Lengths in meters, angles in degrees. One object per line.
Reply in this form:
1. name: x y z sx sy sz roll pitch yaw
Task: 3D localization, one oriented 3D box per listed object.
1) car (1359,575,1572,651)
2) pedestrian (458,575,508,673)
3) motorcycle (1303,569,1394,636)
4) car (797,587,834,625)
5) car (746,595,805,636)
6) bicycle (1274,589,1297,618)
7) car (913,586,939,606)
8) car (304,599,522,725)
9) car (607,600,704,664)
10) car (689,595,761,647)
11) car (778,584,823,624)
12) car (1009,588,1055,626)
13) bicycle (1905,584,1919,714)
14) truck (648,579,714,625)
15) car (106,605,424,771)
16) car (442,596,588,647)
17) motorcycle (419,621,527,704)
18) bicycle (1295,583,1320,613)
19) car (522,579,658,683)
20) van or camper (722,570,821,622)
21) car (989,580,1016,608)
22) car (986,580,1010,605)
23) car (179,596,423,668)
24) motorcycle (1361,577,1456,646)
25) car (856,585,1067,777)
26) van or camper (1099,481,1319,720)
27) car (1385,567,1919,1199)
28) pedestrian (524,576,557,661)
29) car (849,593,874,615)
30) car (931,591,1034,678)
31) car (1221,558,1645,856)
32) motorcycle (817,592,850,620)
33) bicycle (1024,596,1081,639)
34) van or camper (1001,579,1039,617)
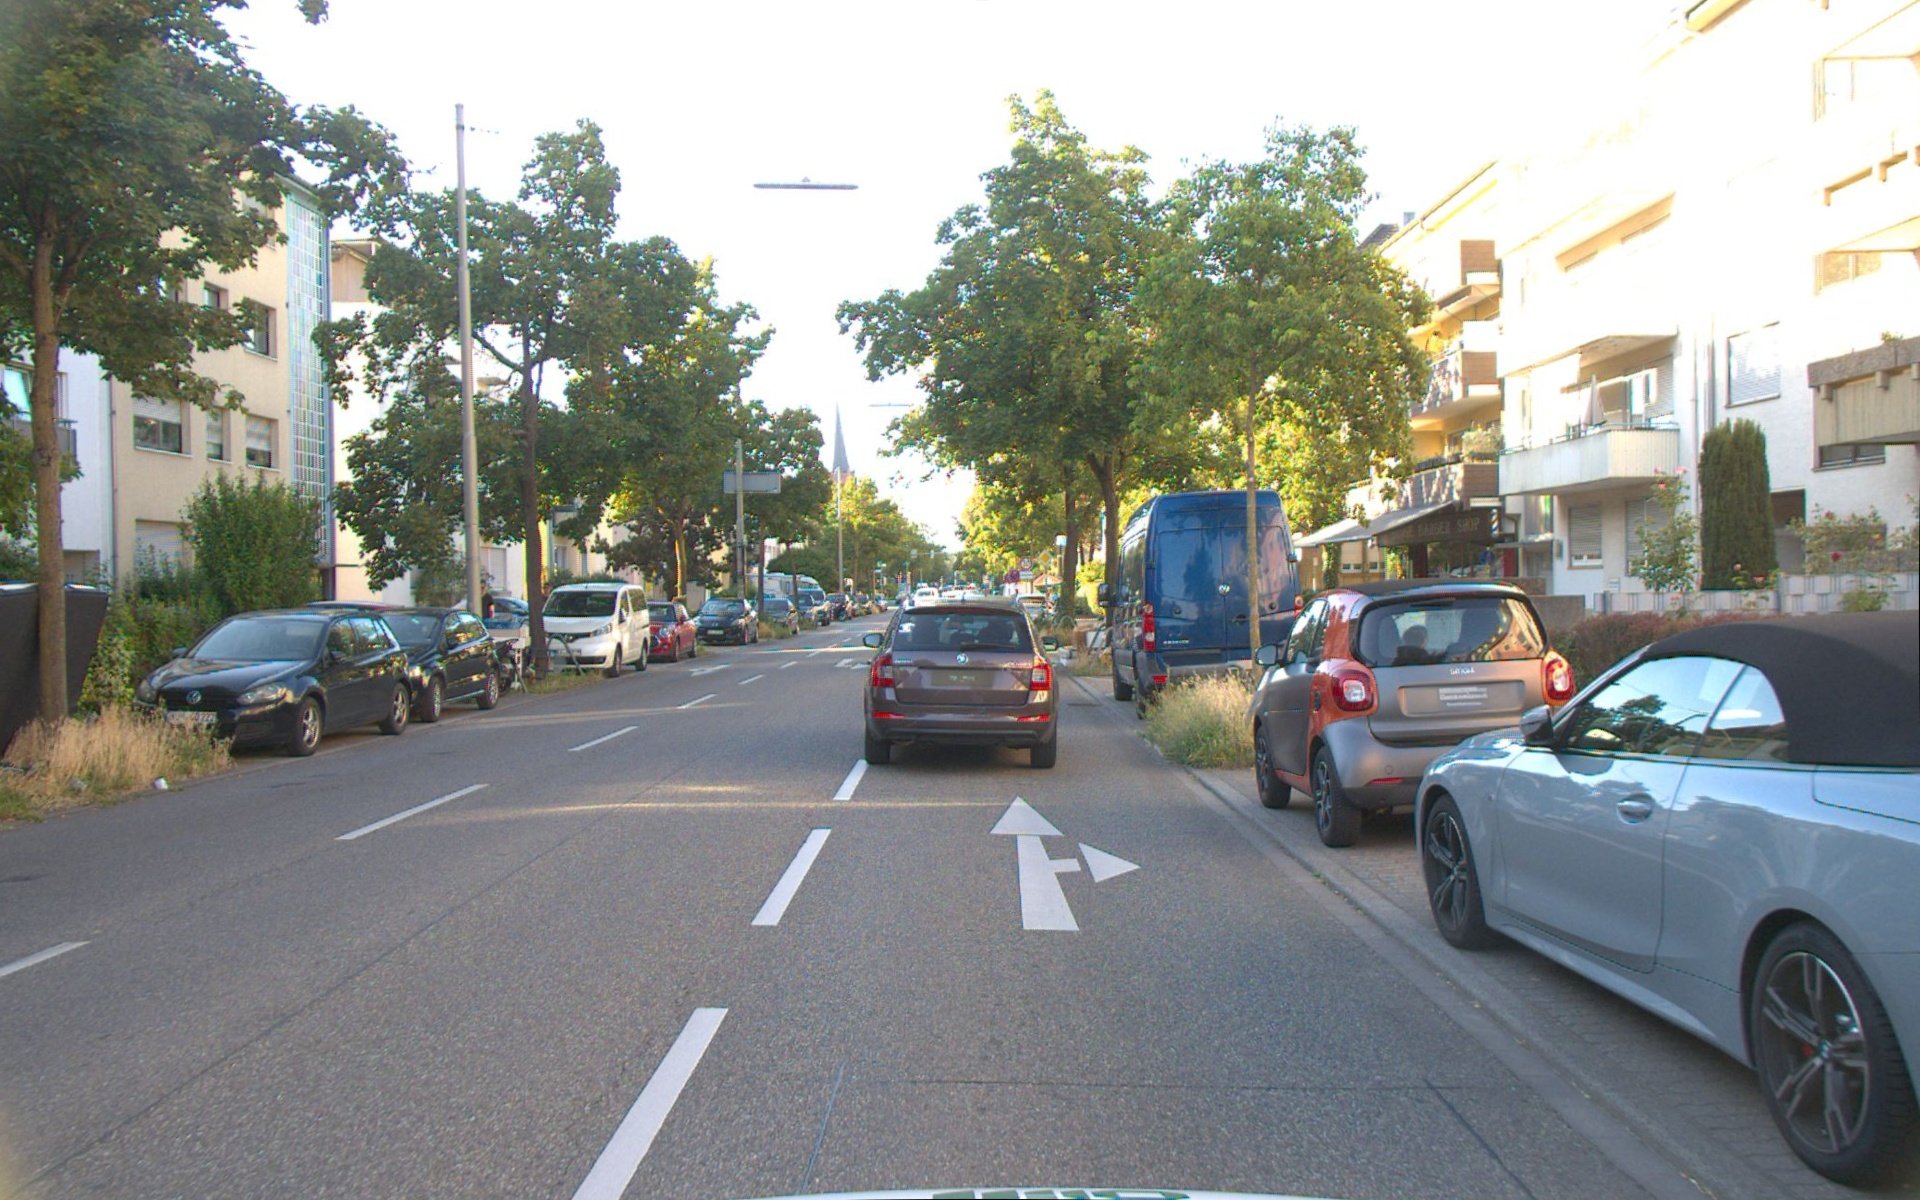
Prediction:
1. car: 10.636 0.252 34.949 3.908 1.487 1.823 -1 1 -3
2. pedestrian: -10.254 0.502 35.589 0.751 2.049 0.976 -1 1 -1
3. motorcycle: 9.798 0.058 41.798 2.148 1.649 0.732 -1 1 6
4. car: -7.181 0.278 82.309 1.476 1.788 3.693 -1 1 0
5. car: -7.188 0.585 64.885 1.718 1.445 4.426 -1 1 1
6. bicycle: 11.277 0.122 57.392 0.335 0.967 1.580 2 0 -5
7. car: -3.309 -0.397 161.528 1.836 1.788 4.182 -1 1 8
8. car: -7.563 0.798 23.272 1.714 1.529 3.978 -1 1 0
9. car: -7.492 0.759 41.019 1.681 1.445 3.787 -1 1 0
10. car: -7.482 0.649 52.979 1.681 1.523 4.248 -1 1 0
11. car: -7.463 0.152 77.641 1.714 1.771 3.591 -1 1 0
12. car: 2.921 0.255 67.558 1.783 1.438 4.112 -1 1 2
13. bicycle: 8.441 0.428 13.568 0.482 1.108 1.544 -1 1 0
14. truck: -13.315 0.084 79.081 2.854 2.130 1.546 -1 1 -1
15. car: -7.496 0.870 18.327 1.714 1.529 4.197 -1 1 0
16. car: -13.407 0.634 50.000 3.908 1.505 1.999 0 1 -4
17. motorcycle: -7.731 0.974 26.314 0.433 1.212 1.700 0 1 37
18. bicycle: 11.919 -0.070 56.795 0.335 0.967 1.580 -3 0 -5
19. car: -7.502 0.575 33.966 1.733 1.952 4.460 -1 1 0
20. van or camper: -14.661 -0.319 128.827 7.486 3.942 1.999 -1 1 -2
21. car: 2.926 -0.422 114.926 1.694 1.846 3.950 -1 1 -1
22. car: 2.911 -0.607 127.418 1.694 1.846 3.950 -1 1 -1
23. car: -14.236 0.661 36.019 4.629 1.386 1.994 -1 1 -13
24. motorcycle: 11.049 0.271 40.818 2.148 1.649 0.890 -1 1 6
25. car: 0.060 0.645 15.465 1.694 1.520 3.952 -1 1 1
26. van or camper: 3.125 0.016 22.074 2.025 2.722 5.989 -1 0 0
27. car: 3.109 0.653 5.596 1.882 1.512 4.743 -1 1 -3
28. pedestrian: -10.279 0.444 40.540 0.614 2.049 0.616 -1 1 -1
29. car: -7.081 0.266 119.088 1.630 1.457 3.275 -1 1 0
30. car: 0.380 0.617 32.251 1.695 1.520 3.948 -1 1 -4
31. car: 3.011 0.615 11.361 1.737 1.671 3.756 -1 0 -2
32. motorcycle: -7.095 0.350 92.550 0.760 1.538 1.999 -1 1 -42
33. bicycle: 2.905 0.545 51.970 1.635 1.247 0.636 -3 0 13
34. van or camper: 3.316 -0.135 91.629 1.953 2.049 4.000 -1 1 0
